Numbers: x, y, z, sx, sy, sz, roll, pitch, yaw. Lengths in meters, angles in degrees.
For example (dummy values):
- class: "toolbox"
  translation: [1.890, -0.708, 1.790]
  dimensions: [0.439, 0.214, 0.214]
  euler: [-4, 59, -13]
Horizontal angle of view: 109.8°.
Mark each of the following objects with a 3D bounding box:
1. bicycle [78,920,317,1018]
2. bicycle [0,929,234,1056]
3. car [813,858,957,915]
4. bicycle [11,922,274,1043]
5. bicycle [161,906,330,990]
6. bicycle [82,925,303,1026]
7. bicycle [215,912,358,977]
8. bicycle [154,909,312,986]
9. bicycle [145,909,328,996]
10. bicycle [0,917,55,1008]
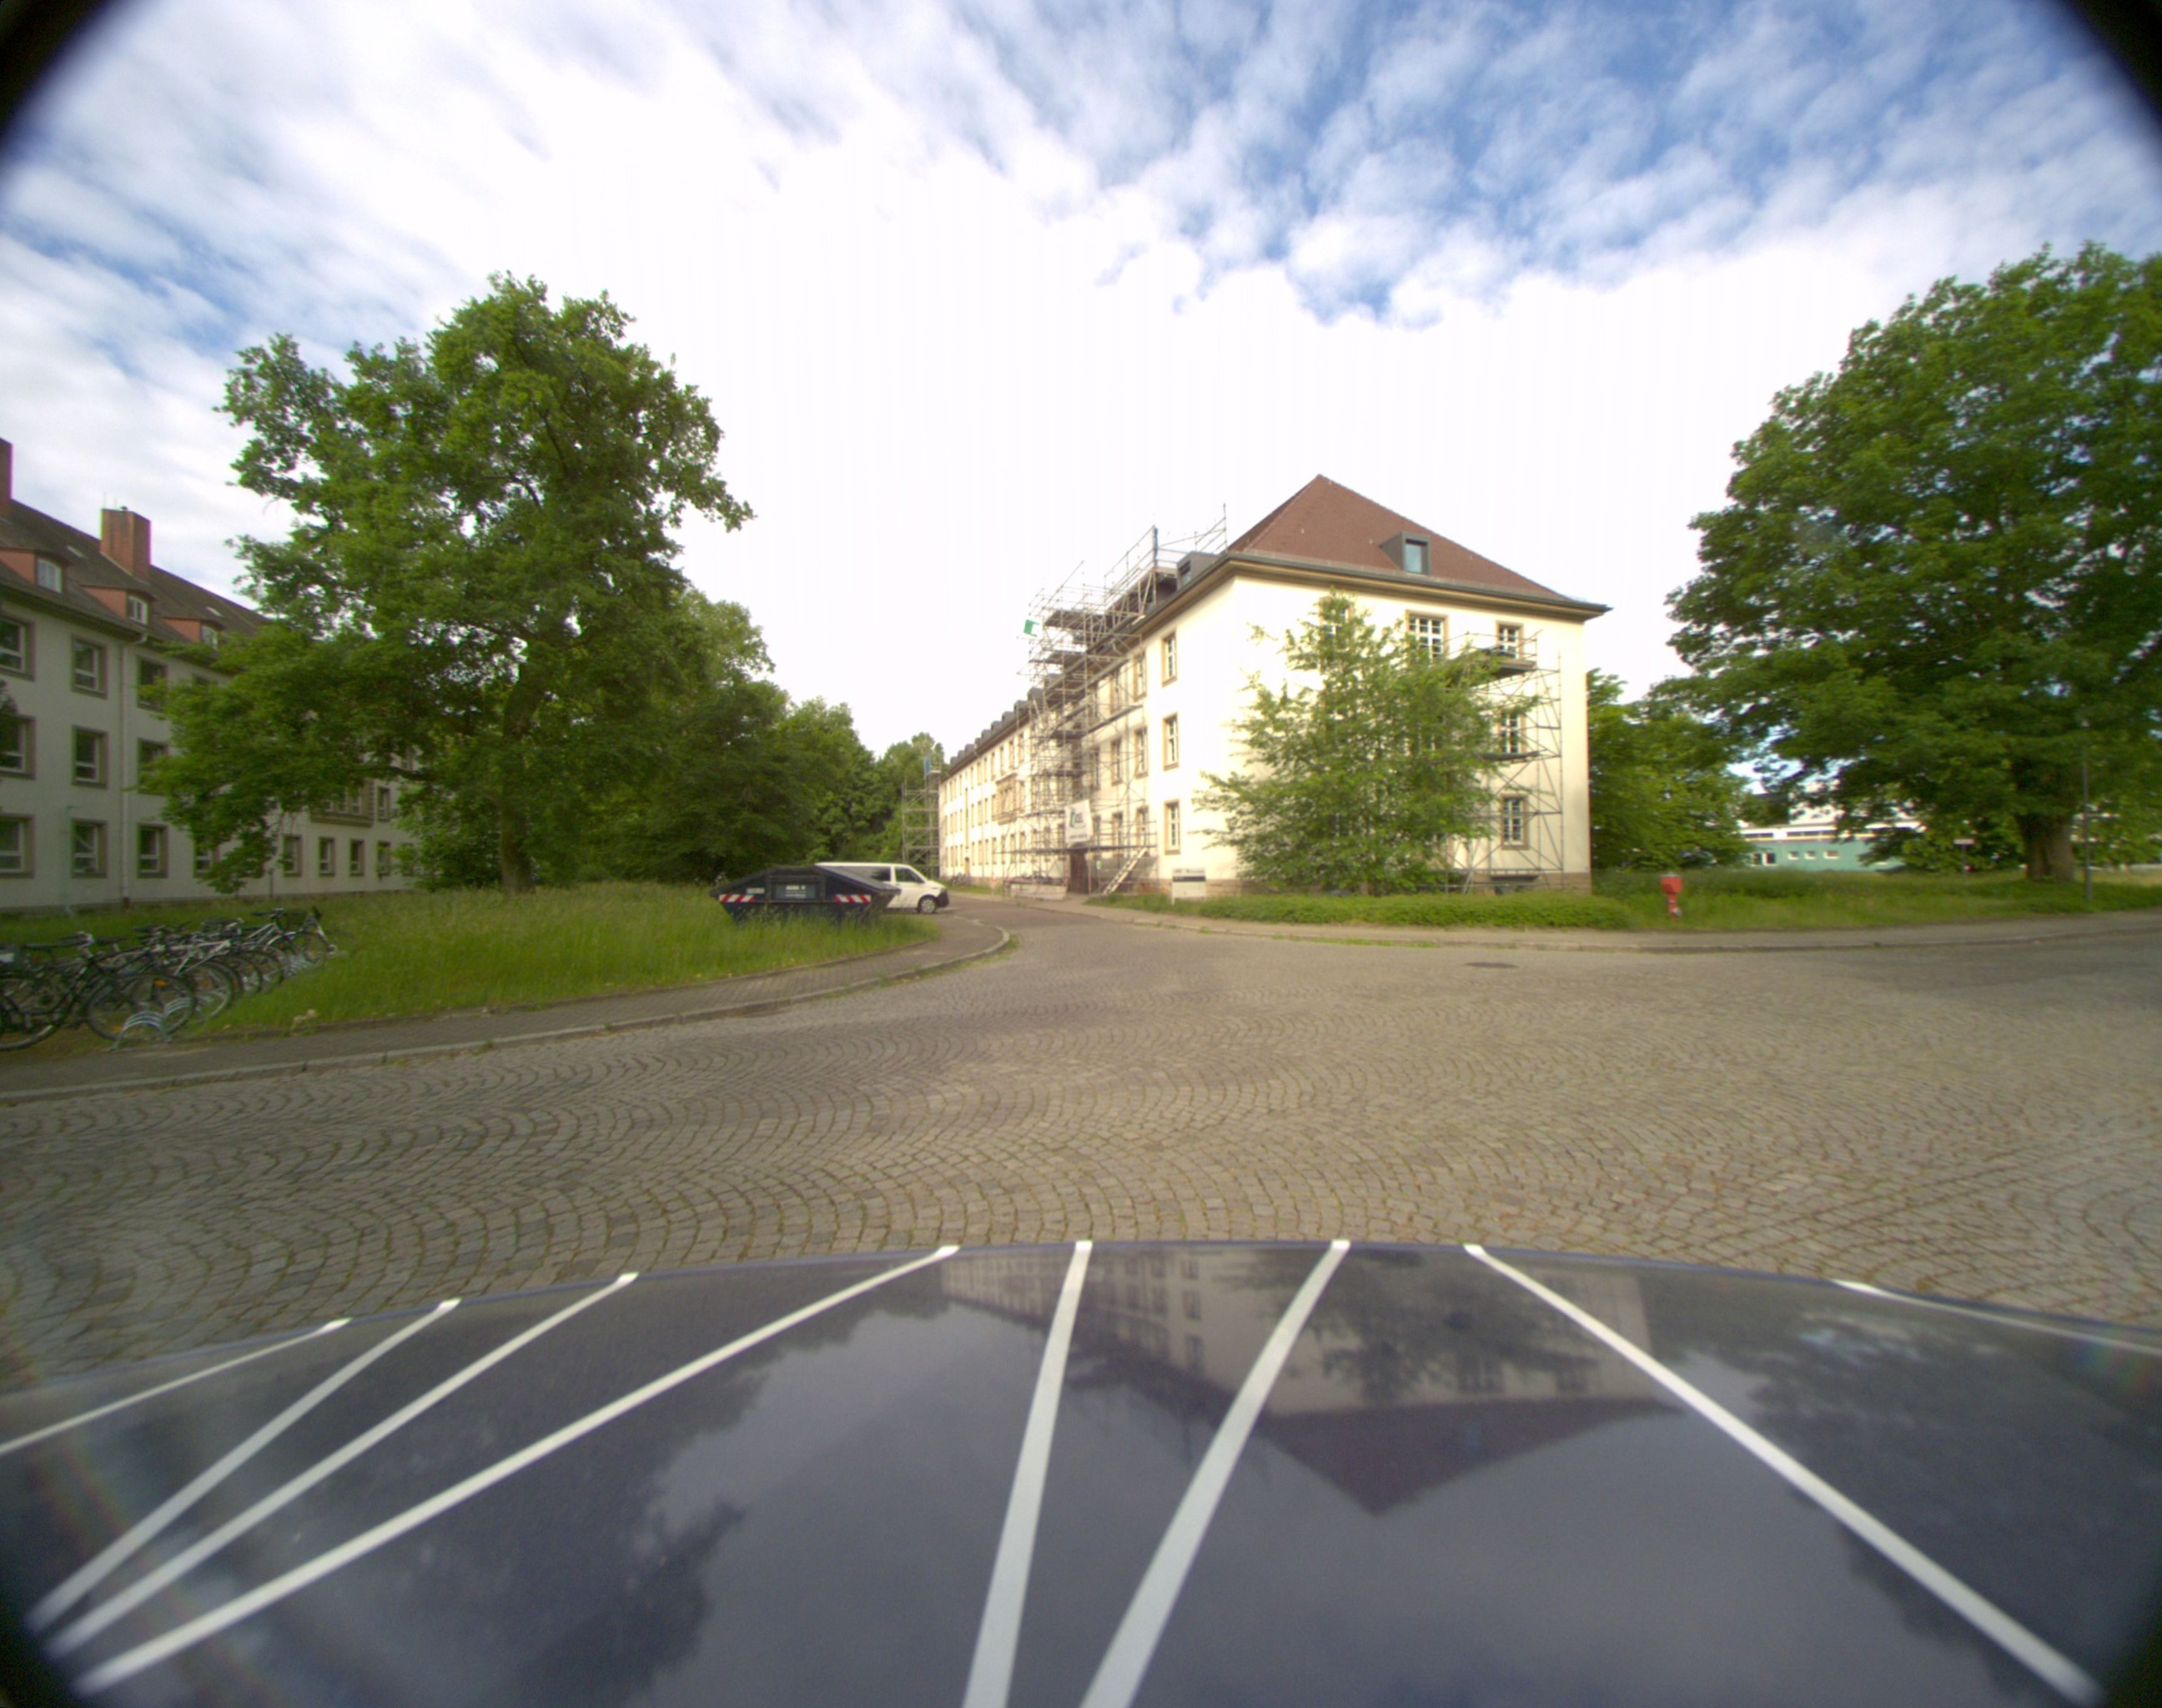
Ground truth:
- class: "bicycle"
  translation: [-11.789, 1.496, 10.256]
  dimensions: [1.963, 0.999, 0.684]
  euler: [-2, 2, -38]
- class: "bicycle"
  translation: [-10.649, 1.472, 8.271]
  dimensions: [1.777, 1.097, 0.700]
  euler: [-2, 2, -38]
- class: "car"
  translation: [-7.601, 1.248, 29.437]
  dimensions: [5.223, 2.047, 2.185]
  euler: [1, -2, -20]
- class: "bicycle"
  translation: [-10.961, 1.457, 8.989]
  dimensions: [1.802, 1.097, 0.700]
  euler: [-2, 2, -38]
- class: "bicycle"
  translation: [-13.275, 1.465, 12.144]
  dimensions: [1.705, 1.110, 0.540]
  euler: [-2, 2, -38]
- class: "bicycle"
  translation: [-11.202, 1.498, 9.673]
  dimensions: [1.699, 0.996, 0.630]
  euler: [-2, 2, -38]
- class: "bicycle"
  translation: [-13.718, 1.541, 13.182]
  dimensions: [1.624, 0.906, 0.525]
  euler: [-2, 2, -38]
- class: "bicycle"
  translation: [-13.801, 1.494, 12.434]
  dimensions: [1.624, 1.053, 0.525]
  euler: [-2, 2, -38]
- class: "bicycle"
  translation: [-12.927, 1.476, 11.710]
  dimensions: [1.780, 1.099, 0.540]
  euler: [-2, 2, -38]
- class: "bicycle"
  translation: [-15.342, 1.519, 10.285]
  dimensions: [1.647, 1.179, 0.572]
  euler: [-1, 2, -44]
